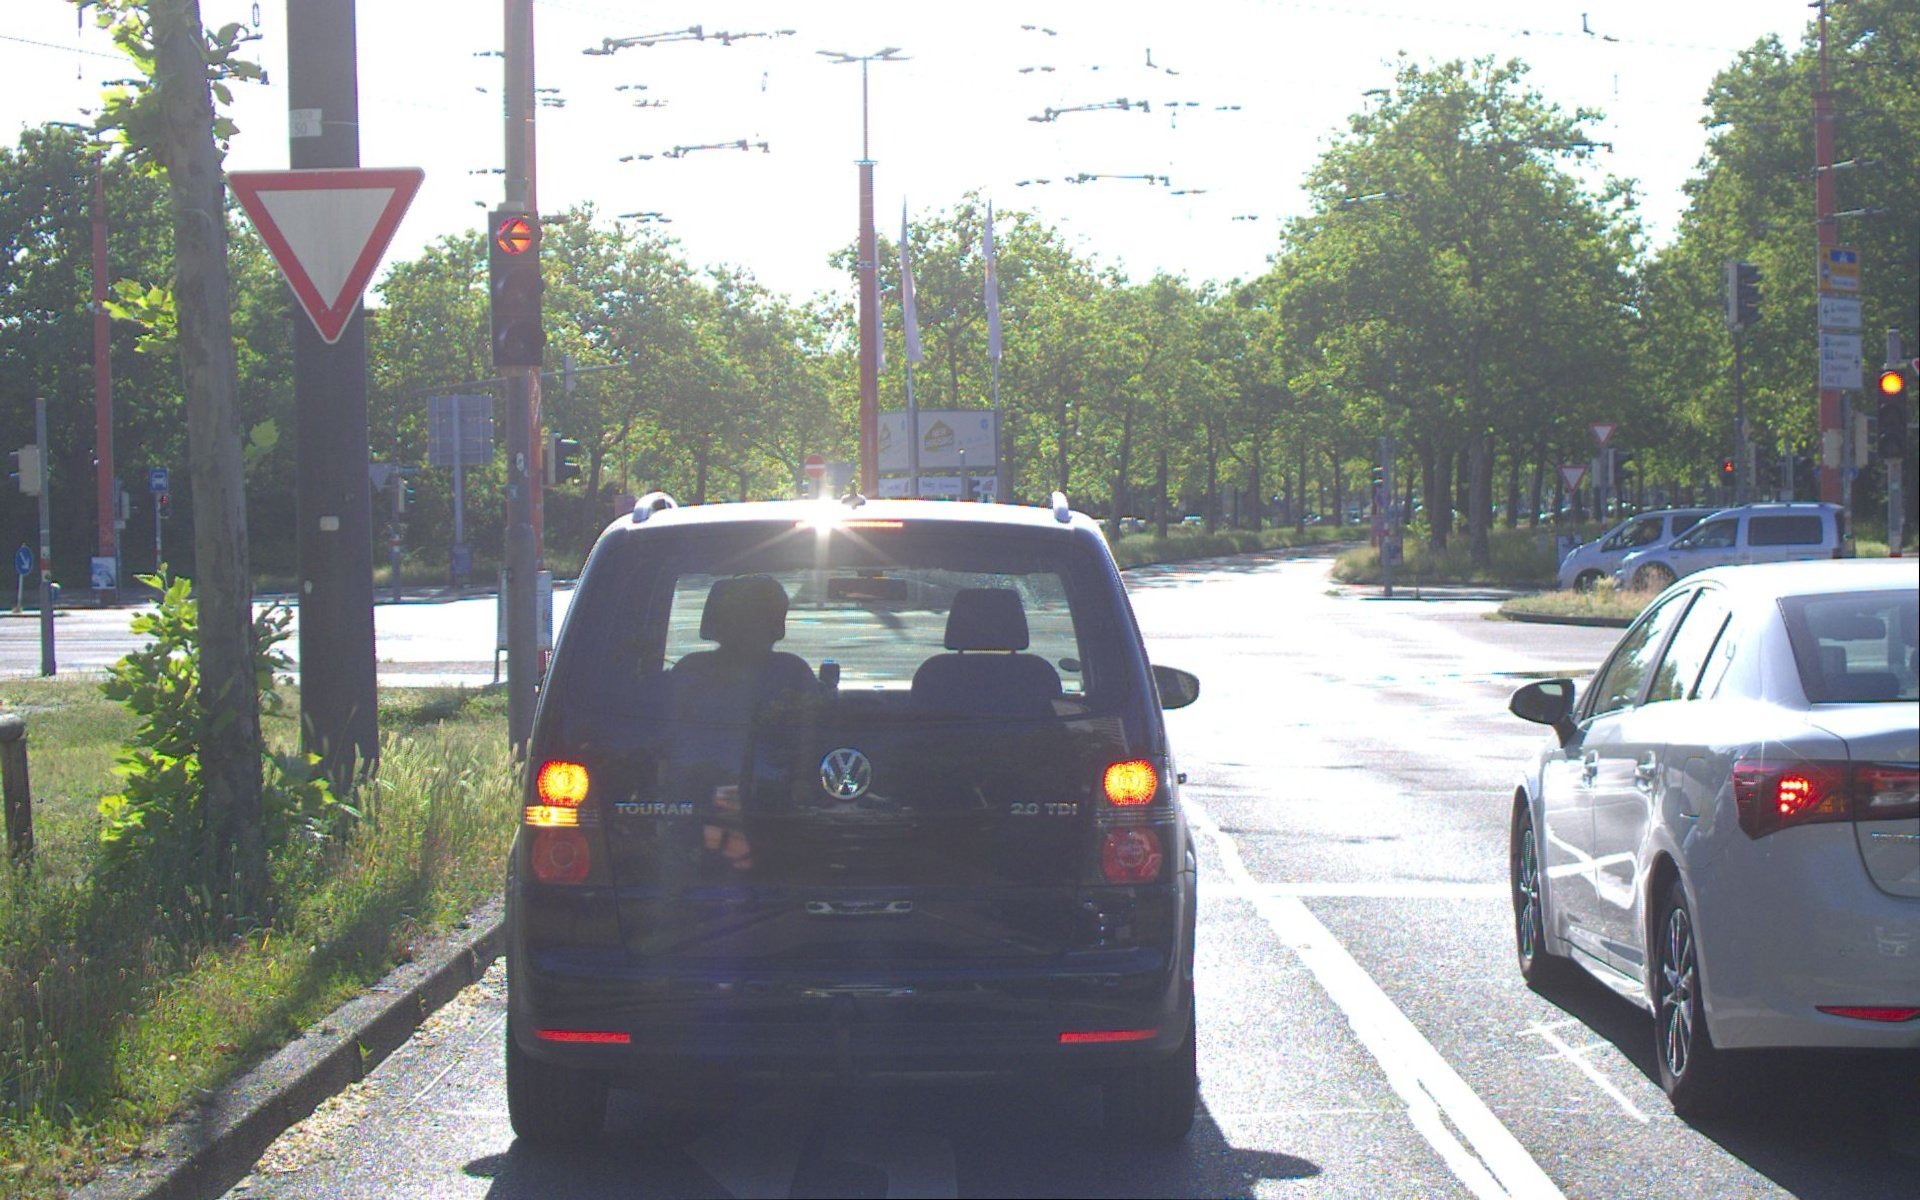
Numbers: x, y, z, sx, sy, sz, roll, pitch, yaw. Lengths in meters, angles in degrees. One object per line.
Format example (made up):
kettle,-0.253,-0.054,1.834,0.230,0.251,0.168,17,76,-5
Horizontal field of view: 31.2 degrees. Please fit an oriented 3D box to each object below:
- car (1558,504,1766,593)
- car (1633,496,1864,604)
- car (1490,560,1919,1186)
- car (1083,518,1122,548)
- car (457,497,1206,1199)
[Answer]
car,13.675,-1.011,67.002,3.647,1.650,1.678,1,1,25
car,14.409,-0.920,62.797,3.837,1.883,1.762,1,1,23
car,2.716,0.620,10.109,1.720,1.433,4.198,1,1,1
car,8.275,-3.878,199.148,1.915,1.630,3.999,1,1,7
car,-0.322,0.548,9.815,1.700,1.616,3.897,0,1,-1
